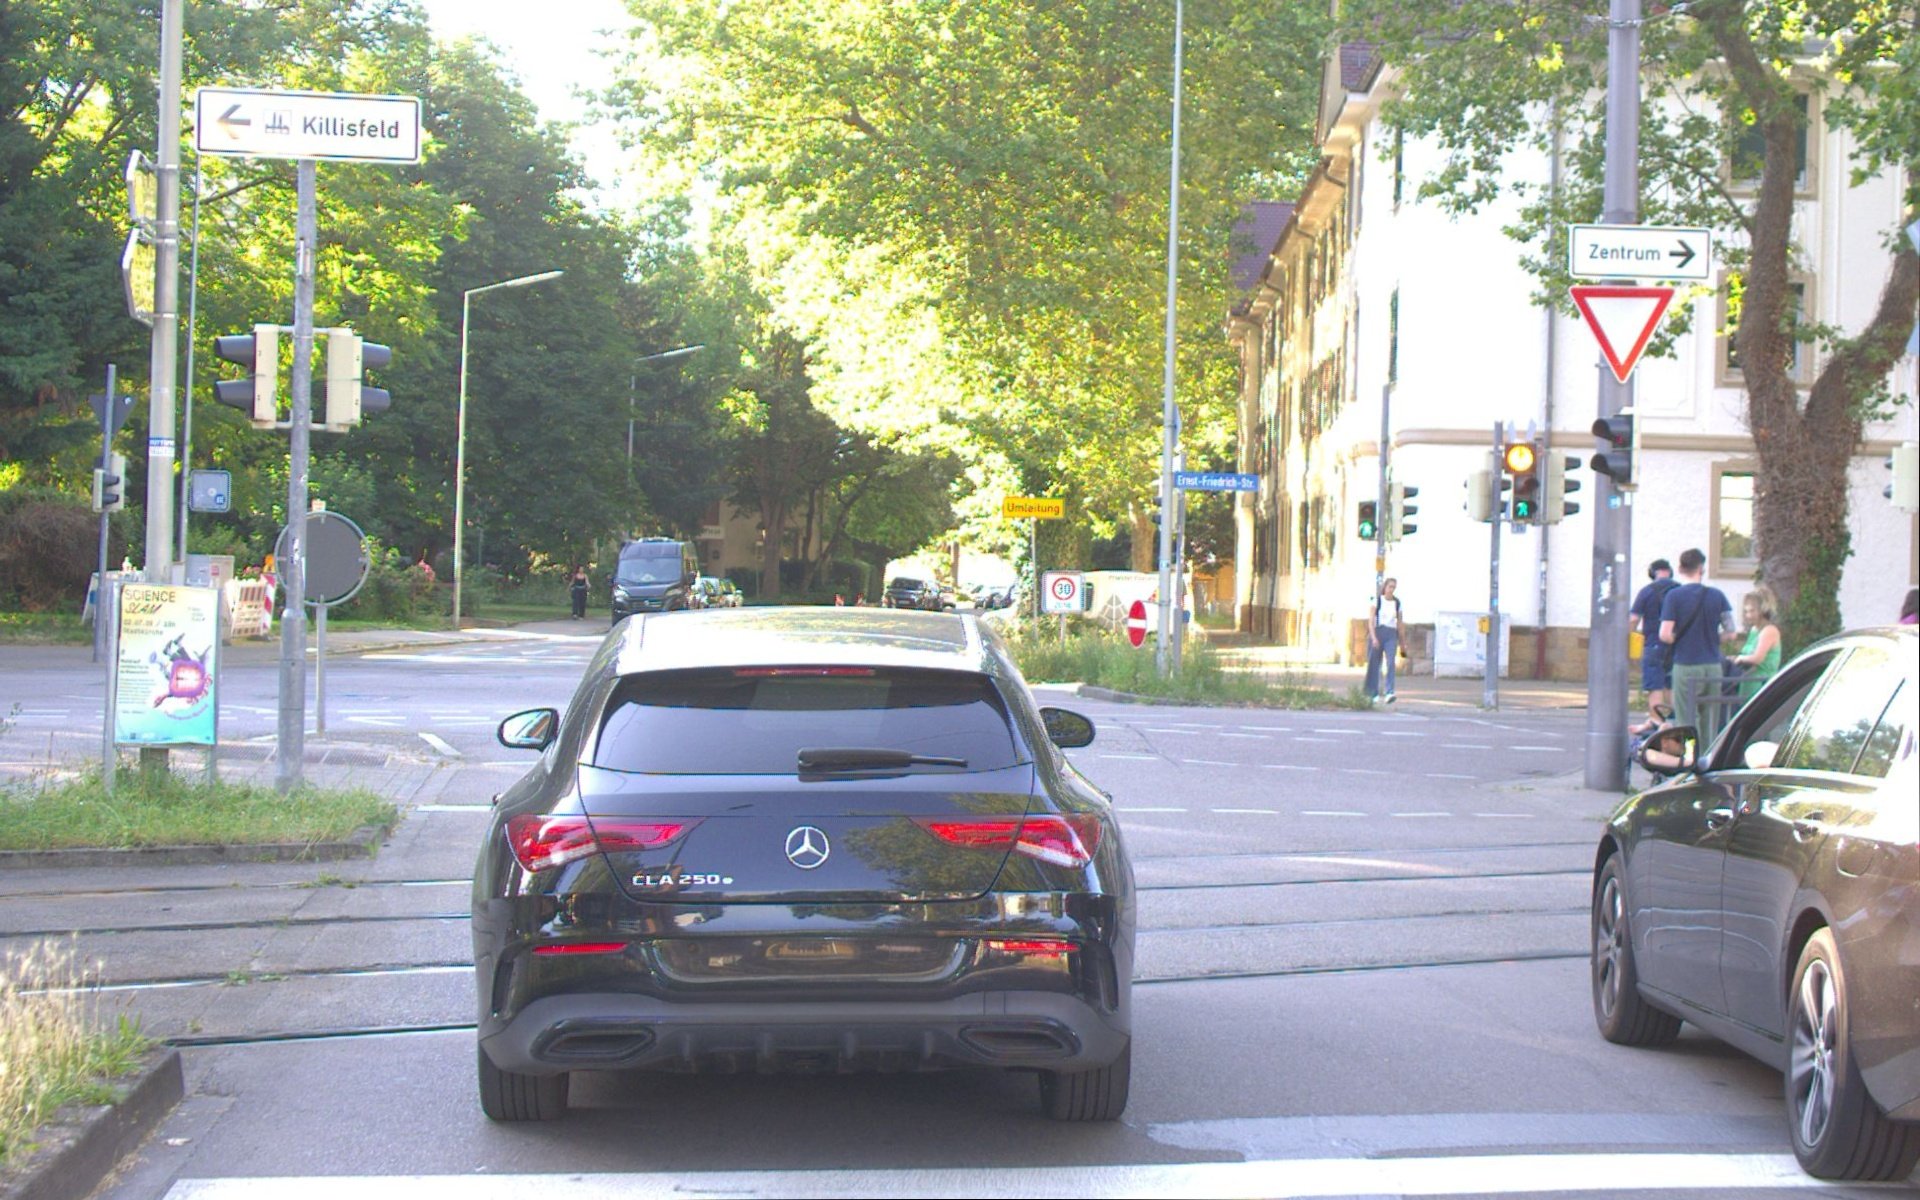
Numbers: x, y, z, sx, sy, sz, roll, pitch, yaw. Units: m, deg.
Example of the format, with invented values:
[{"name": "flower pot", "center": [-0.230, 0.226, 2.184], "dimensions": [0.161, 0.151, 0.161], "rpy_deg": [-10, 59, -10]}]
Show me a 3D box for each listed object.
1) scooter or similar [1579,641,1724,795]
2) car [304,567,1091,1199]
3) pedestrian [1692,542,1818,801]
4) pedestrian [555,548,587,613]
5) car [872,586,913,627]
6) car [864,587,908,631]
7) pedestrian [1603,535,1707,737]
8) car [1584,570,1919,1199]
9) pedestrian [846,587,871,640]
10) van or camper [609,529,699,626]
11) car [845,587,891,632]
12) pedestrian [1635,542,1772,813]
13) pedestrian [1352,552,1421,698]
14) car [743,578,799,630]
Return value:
[{"name": "scooter or similar", "center": [5.196, 0.879, 25.856], "dimensions": [0.828, 1.101, 0.809], "rpy_deg": [2, 0, -5]}, {"name": "car", "center": [-0.613, 0.717, 10.480], "dimensions": [1.889, 1.445, 4.000], "rpy_deg": [2, 2, 1]}, {"name": "pedestrian", "center": [6.015, 0.534, 26.034], "dimensions": [0.682, 1.911, 0.707], "rpy_deg": [2, 0, -4]}, {"name": "pedestrian", "center": [-11.550, -0.577, 102.178], "dimensions": [0.705, 1.911, 0.839], "rpy_deg": [2, 0, 6]}, {"name": "car", "center": [-3.004, 0.288, 153.840], "dimensions": [1.733, 1.759, 4.019], "rpy_deg": [2, 0, 0]}, {"name": "car", "center": [-3.121, 0.388, 145.756], "dimensions": [1.733, 1.759, 4.019], "rpy_deg": [2, 0, 0]}, {"name": "pedestrian", "center": [6.732, 0.344, 33.336], "dimensions": [0.705, 1.911, 0.839], "rpy_deg": [2, 0, -6]}, {"name": "car", "center": [3.072, 0.762, 9.578], "dimensions": [1.889, 1.485, 4.381], "rpy_deg": [2, 2, 1]}, {"name": "pedestrian", "center": [-3.701, 0.498, 125.399], "dimensions": [0.705, 1.911, 0.839], "rpy_deg": [2, 0, -10]}, {"name": "van or camper", "center": [-8.433, -0.603, 95.143], "dimensions": [1.993, 2.533, 4.650], "rpy_deg": [2, 0, 0]}, {"name": "car", "center": [-3.743, 0.400, 140.577], "dimensions": [1.733, 1.759, 4.019], "rpy_deg": [2, 0, 0]}, {"name": "pedestrian", "center": [5.397, 0.557, 24.982], "dimensions": [0.705, 1.911, 0.685], "rpy_deg": [2, 0, -9]}, {"name": "pedestrian", "center": [5.697, 0.329, 45.924], "dimensions": [0.705, 1.911, 0.839], "rpy_deg": [2, 0, -4]}, {"name": "car", "center": [-6.682, 0.138, 121.801], "dimensions": [1.733, 1.759, 3.971], "rpy_deg": [2, 0, 0]}]
